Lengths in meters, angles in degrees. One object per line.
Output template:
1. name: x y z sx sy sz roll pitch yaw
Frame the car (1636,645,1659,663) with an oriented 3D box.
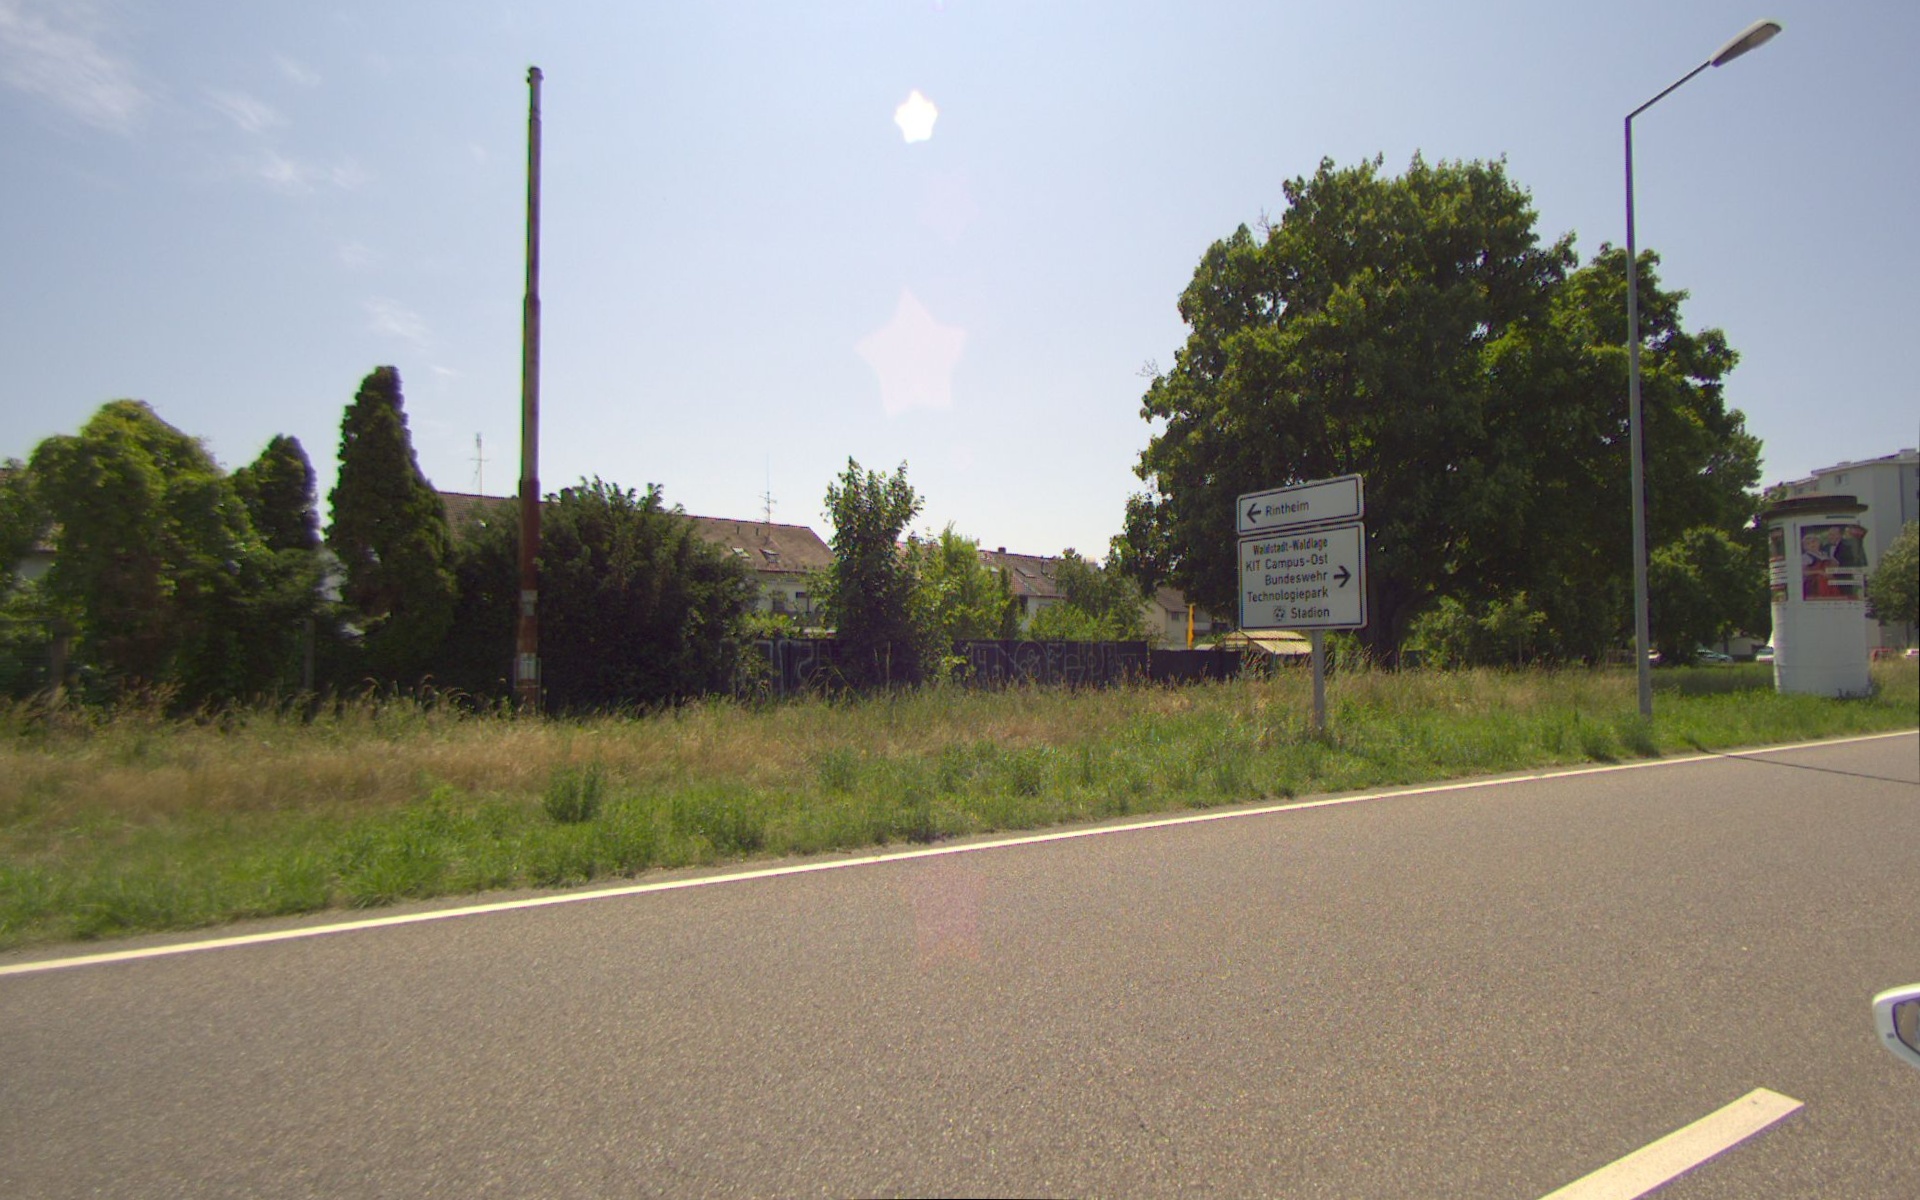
1. car: 77.436 6.024 113.133 1.824 1.973 3.983 -2 -3 38

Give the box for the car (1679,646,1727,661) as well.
1. car: 75.409 5.464 101.962 3.836 1.488 1.769 -3 -3 37

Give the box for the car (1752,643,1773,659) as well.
1. car: 85.379 5.423 106.867 1.668 1.582 3.821 -3 -4 39

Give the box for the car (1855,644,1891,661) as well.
1. car: 92.176 5.345 101.463 1.820 1.690 3.992 -2 -4 31

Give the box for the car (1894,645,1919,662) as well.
1. car: 94.172 5.325 99.624 1.681 1.613 3.988 -1 -3 34

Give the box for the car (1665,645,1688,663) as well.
1. car: 79.214 5.945 110.973 1.824 1.973 3.983 -2 -3 38
